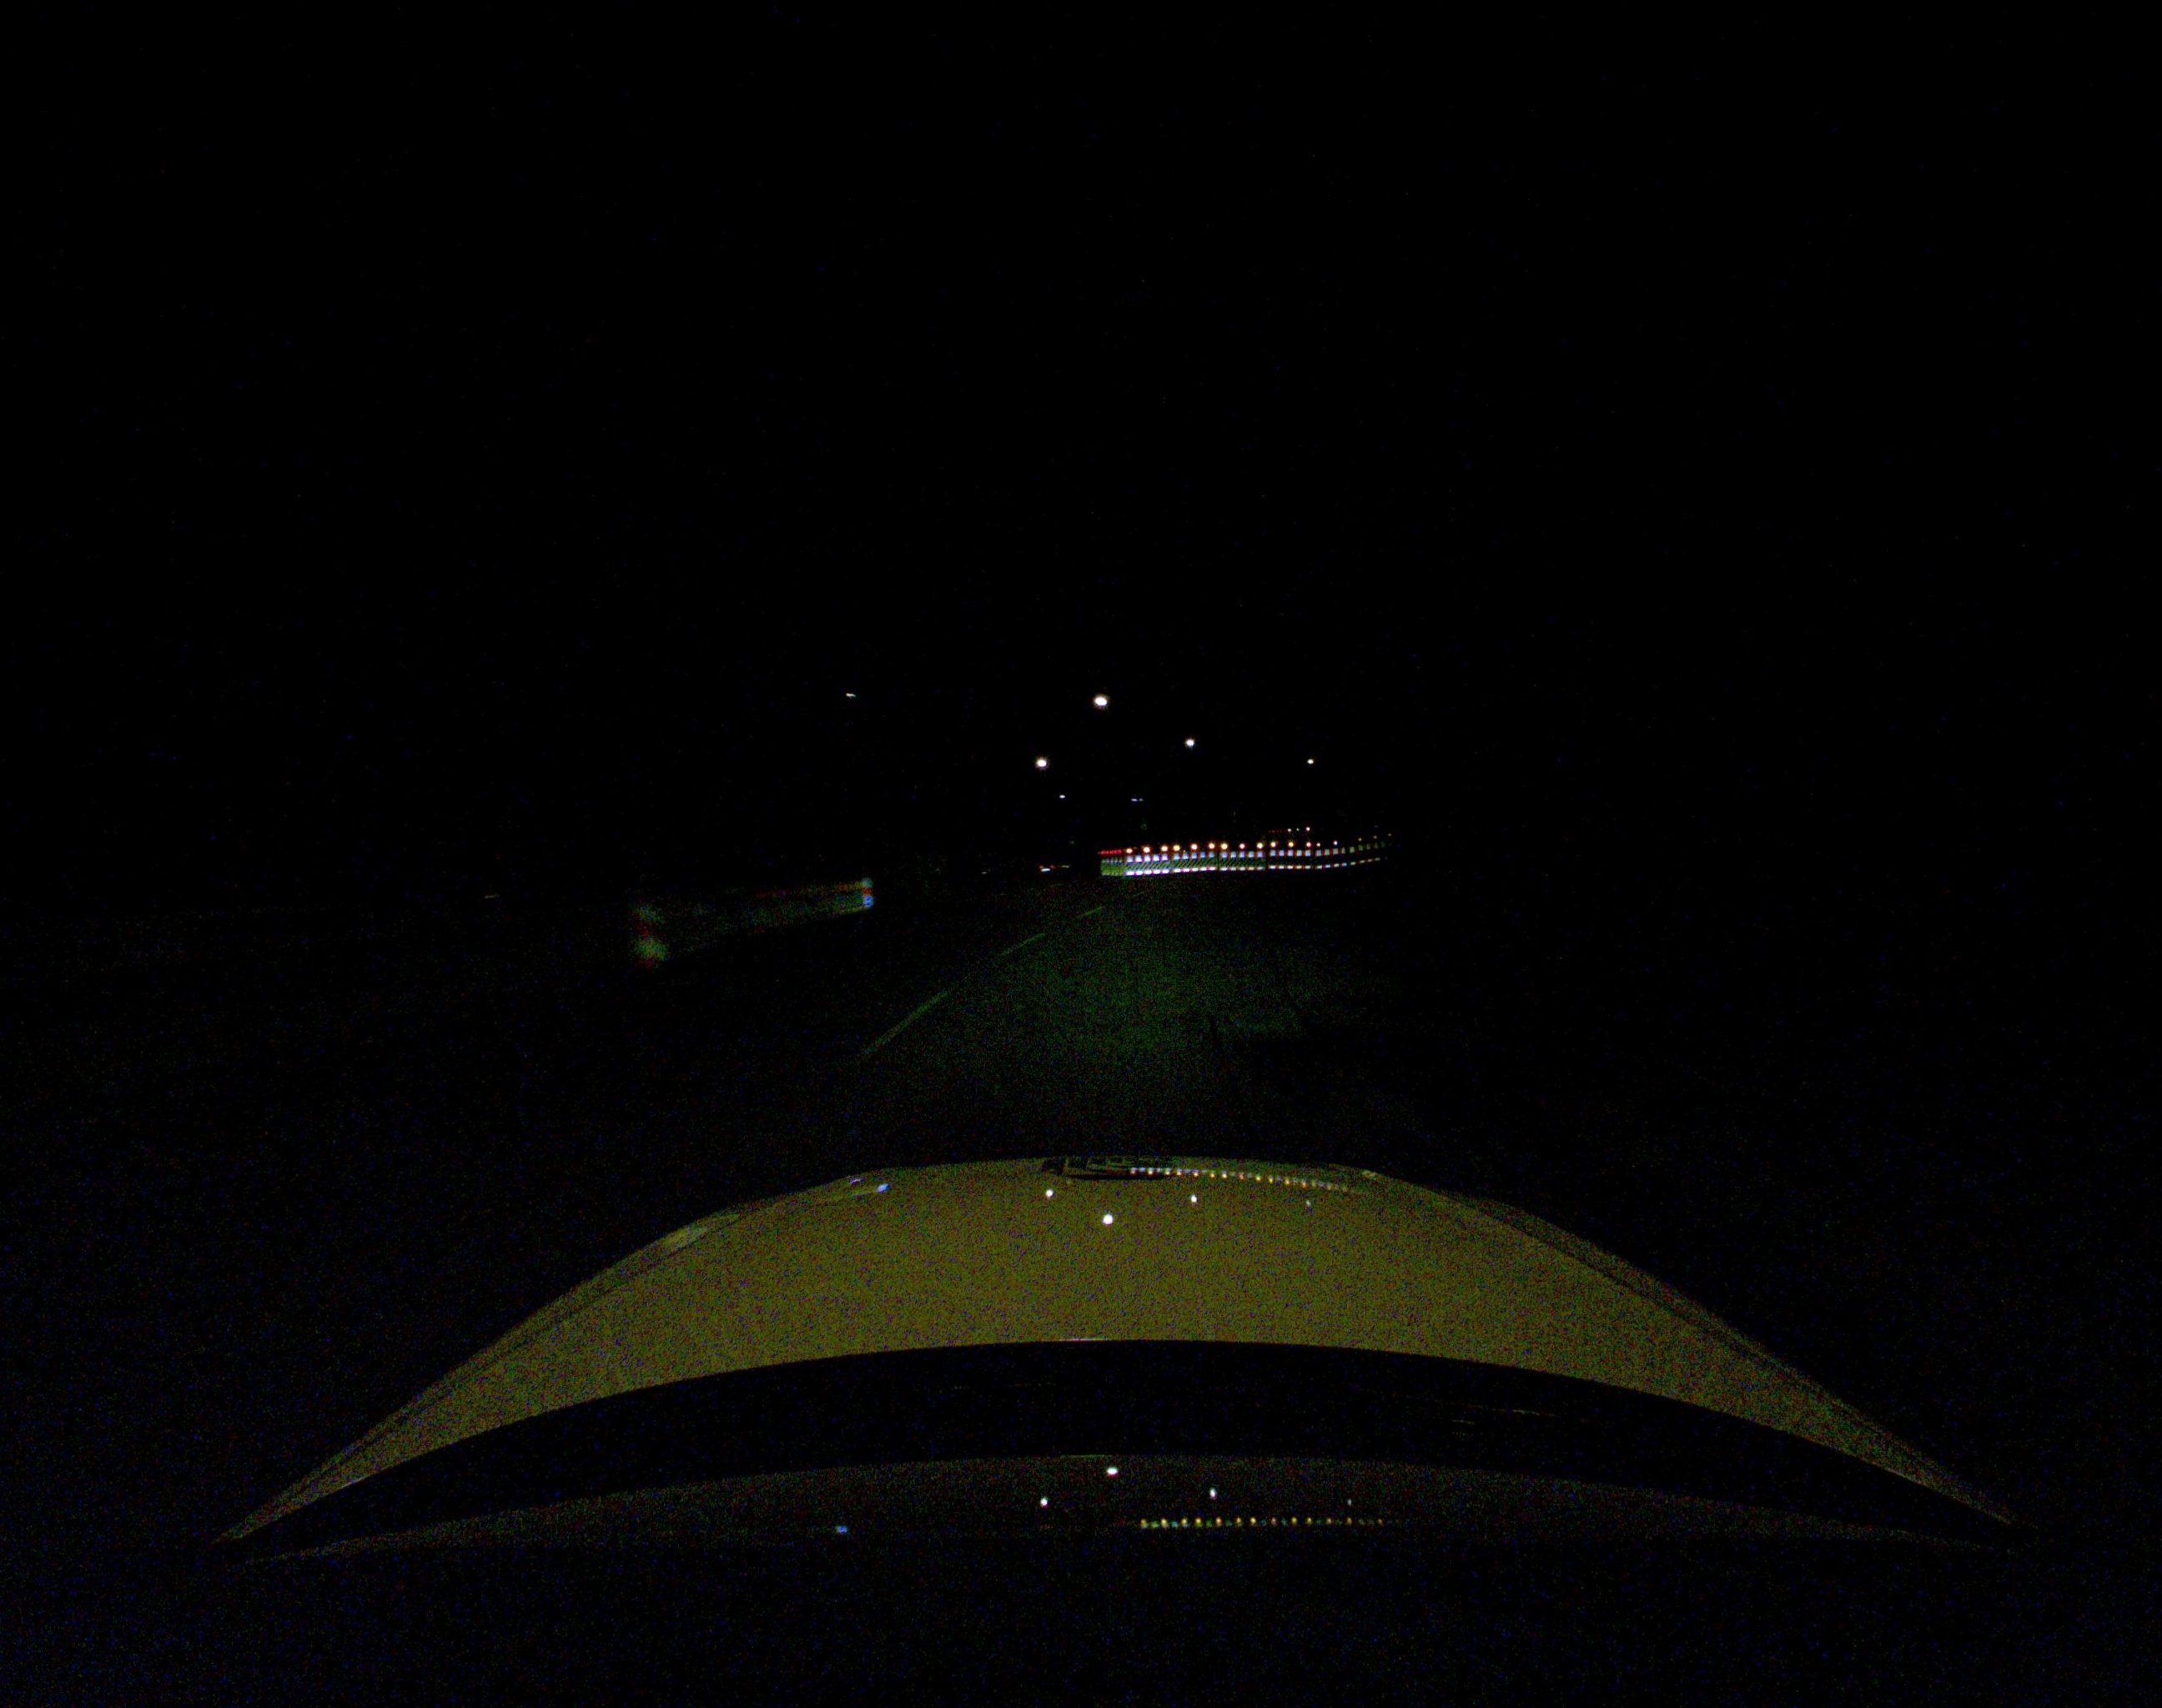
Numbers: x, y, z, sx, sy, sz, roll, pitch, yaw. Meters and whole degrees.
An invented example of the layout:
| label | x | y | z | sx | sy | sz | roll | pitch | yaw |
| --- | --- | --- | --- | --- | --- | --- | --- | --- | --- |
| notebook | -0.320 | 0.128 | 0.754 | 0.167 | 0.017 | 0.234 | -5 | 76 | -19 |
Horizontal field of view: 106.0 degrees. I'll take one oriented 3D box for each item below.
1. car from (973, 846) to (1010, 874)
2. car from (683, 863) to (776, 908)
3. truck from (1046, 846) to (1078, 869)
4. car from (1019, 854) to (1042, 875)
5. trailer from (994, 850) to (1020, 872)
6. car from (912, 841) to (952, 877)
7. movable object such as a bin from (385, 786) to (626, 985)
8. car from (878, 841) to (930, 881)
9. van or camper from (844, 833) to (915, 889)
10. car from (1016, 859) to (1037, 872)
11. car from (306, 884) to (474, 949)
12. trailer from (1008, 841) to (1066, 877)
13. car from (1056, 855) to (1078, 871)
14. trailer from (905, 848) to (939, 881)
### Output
| label | x | y | z | sx | sy | sz | roll | pitch | yaw |
| --- | --- | --- | --- | --- | --- | --- | --- | --- | --- |
| car | -11.417 | 0.695 | 104.421 | 2.502 | 3.171 | 7.161 | -5 | 0 | 11 |
| car | -25.829 | 2.230 | 60.167 | 1.976 | 2.841 | 6.717 | -2 | 1 | 22 |
| truck | -3.089 | 0.551 | 138.605 | 1.976 | 3.403 | 9.028 | -2 | 1 | 21 |
| car | -4.309 | 0.862 | 69.674 | 1.716 | 1.661 | 3.997 | -2 | -1 | -2 |
| trailer | -10.046 | 0.907 | 110.970 | 1.980 | 2.813 | 4.719 | -3 | 1 | 12 |
| car | -13.456 | 0.444 | 74.183 | 2.514 | 2.927 | 7.192 | -5 | 0 | -4 |
| movable object such as a bin | -9.359 | 0.418 | 13.654 | 1.570 | 2.733 | 3.690 | -6 | 2 | -9 |
| car | -13.071 | 0.469 | 60.649 | 2.514 | 2.605 | 7.082 | -5 | 0 | -4 |
| van or camper | -12.446 | 0.395 | 51.004 | 2.512 | 3.094 | 7.442 | -5 | 0 | -1 |
| car | -8.127 | 1.714 | 122.158 | 1.980 | 1.699 | 4.221 | -2 | 0 | 13 |
| car | -33.428 | 2.939 | 39.708 | 1.976 | 2.554 | 5.910 | -2 | 1 | 22 |
| trailer | -3.032 | 0.390 | 54.687 | 1.569 | 2.160 | 5.171 | -4 | 0 | -30 |
| car | -1.685 | 1.106 | 98.230 | 1.709 | 1.821 | 4.014 | -2 | -1 | 13 |
| trailer | -13.090 | 0.811 | 67.131 | 1.989 | 2.527 | 3.565 | -5 | 1 | -2 |
